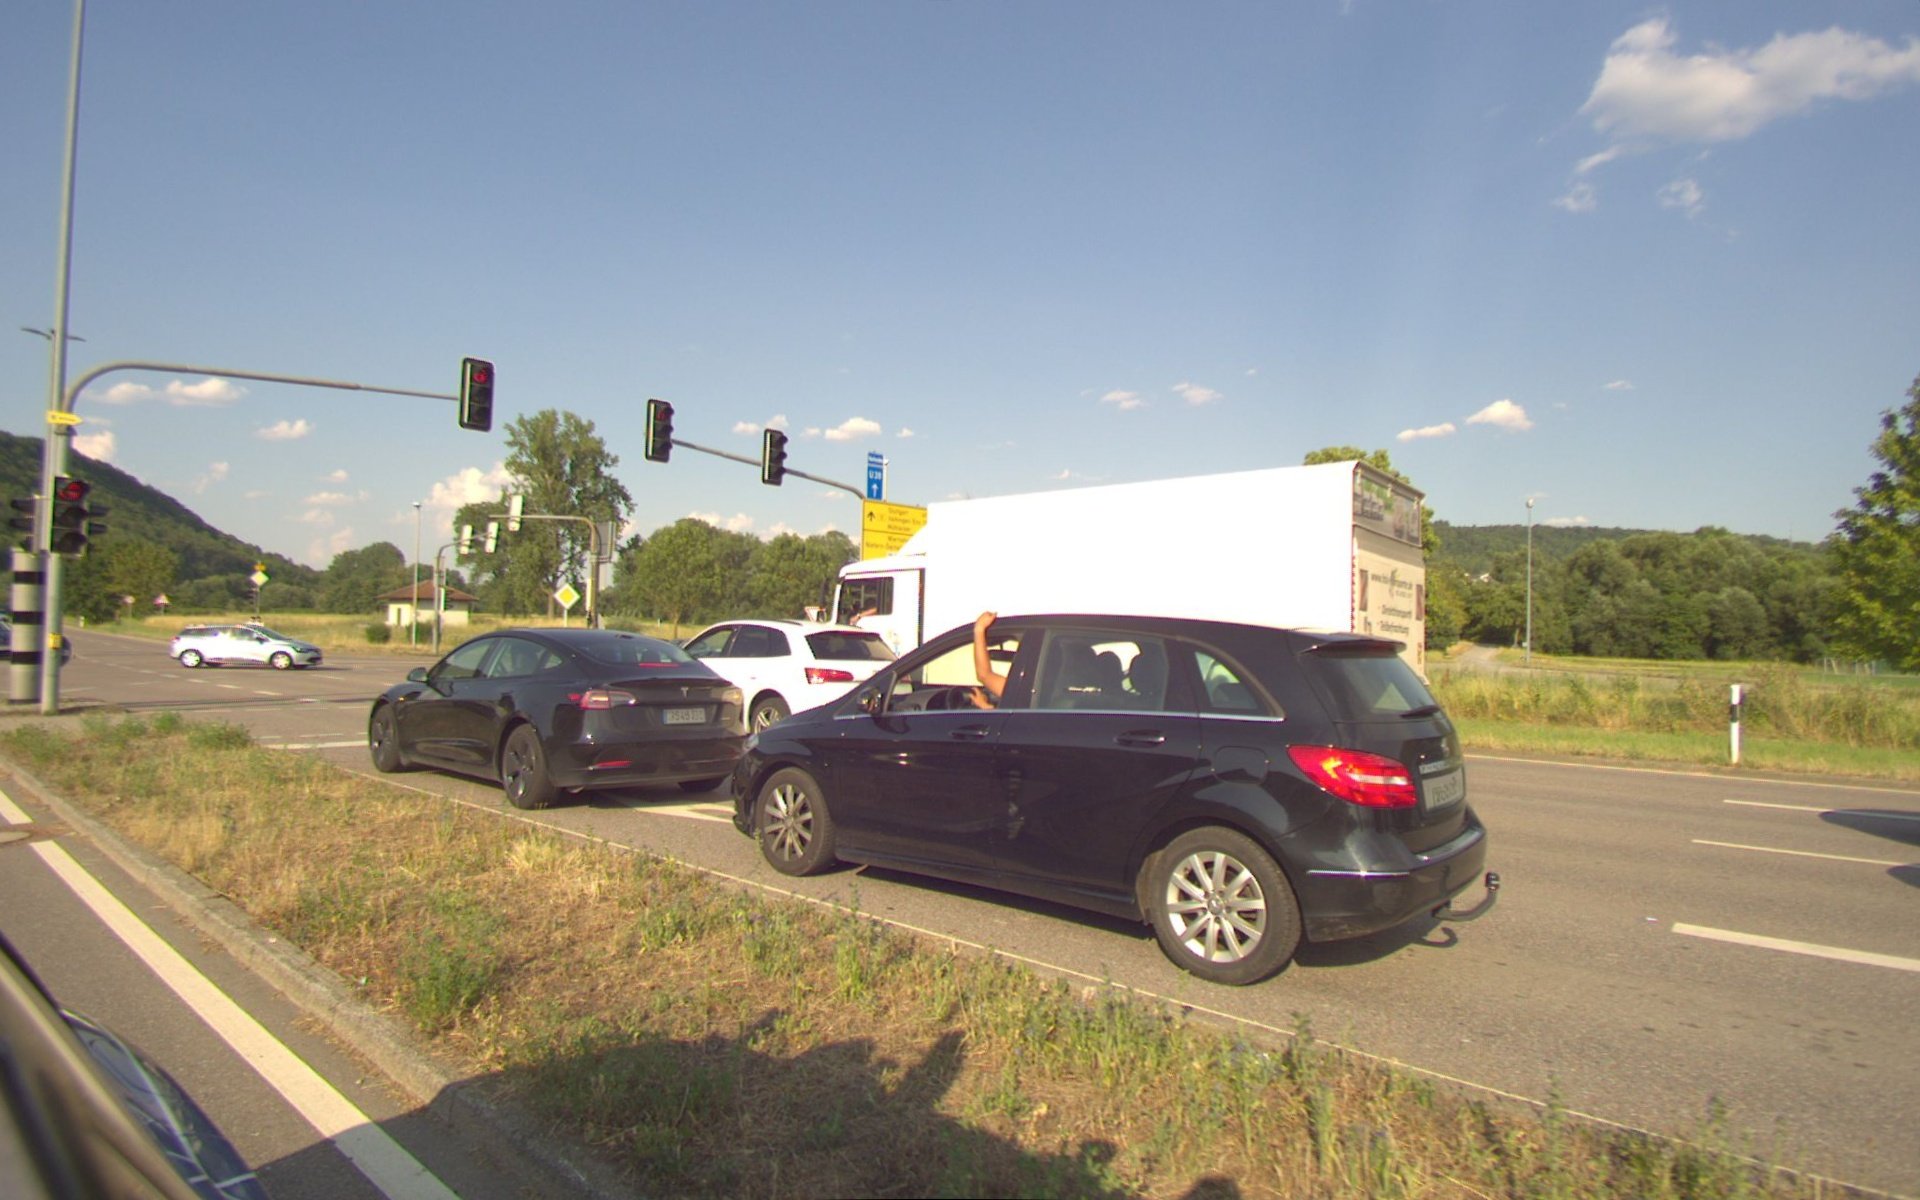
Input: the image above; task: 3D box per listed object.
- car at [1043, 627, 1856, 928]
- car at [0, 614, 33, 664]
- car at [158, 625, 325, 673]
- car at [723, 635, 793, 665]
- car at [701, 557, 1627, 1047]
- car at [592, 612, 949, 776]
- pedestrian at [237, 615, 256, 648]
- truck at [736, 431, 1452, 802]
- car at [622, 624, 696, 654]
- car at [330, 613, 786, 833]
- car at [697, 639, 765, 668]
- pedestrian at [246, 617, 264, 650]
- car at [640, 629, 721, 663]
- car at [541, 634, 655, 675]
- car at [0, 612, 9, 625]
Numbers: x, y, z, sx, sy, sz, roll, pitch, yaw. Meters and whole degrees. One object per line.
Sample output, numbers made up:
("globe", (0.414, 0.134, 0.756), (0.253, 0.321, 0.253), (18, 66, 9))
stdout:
("car", (3.170, 0.974, 7.439), (5.079, 1.416, 1.684), (0, -2, 41))
("car", (-33.064, 1.278, 34.088), (3.984, 1.586, 1.602), (0, 0, 30))
("car", (-23.644, 1.597, 33.441), (4.122, 1.488, 1.766), (0, -1, -9))
("car", (-10.897, 2.683, 54.876), (1.759, 1.431, 3.844), (0, 0, 27))
("car", (0.696, 0.745, 5.406), (4.569, 1.550, 1.762), (-2, -4, 41))
("car", (-2.603, 1.066, 13.166), (4.804, 1.691, 1.973), (0, -2, 41))
("pedestrian", (-36.195, 1.573, 51.335), (0.645, 1.618, 0.839), (0, 0, -27))
("truck", (1.107, 0.221, 14.754), (10.498, 3.718, 2.901), (0, -3, 43))
("car", (-15.971, 2.051, 53.875), (1.628, 1.370, 3.844), (0, 0, 27))
("car", (-3.914, 0.907, 9.350), (4.925, 1.477, 1.772), (0, -1, 40))
("car", (-13.088, 3.026, 57.943), (1.759, 1.431, 3.844), (0, 0, 27))
("pedestrian", (-35.274, 1.666, 50.655), (0.645, 1.618, 0.892), (0, 0, -27))
("car", (-13.746, 2.224, 49.926), (1.759, 1.431, 3.844), (0, 0, 27))
("car", (-14.241, 2.127, 39.933), (3.834, 1.511, 1.694), (3, -2, -44))
("car", (-107.836, 2.034, 113.300), (4.145, 1.445, 1.690), (0, -3, 43))
